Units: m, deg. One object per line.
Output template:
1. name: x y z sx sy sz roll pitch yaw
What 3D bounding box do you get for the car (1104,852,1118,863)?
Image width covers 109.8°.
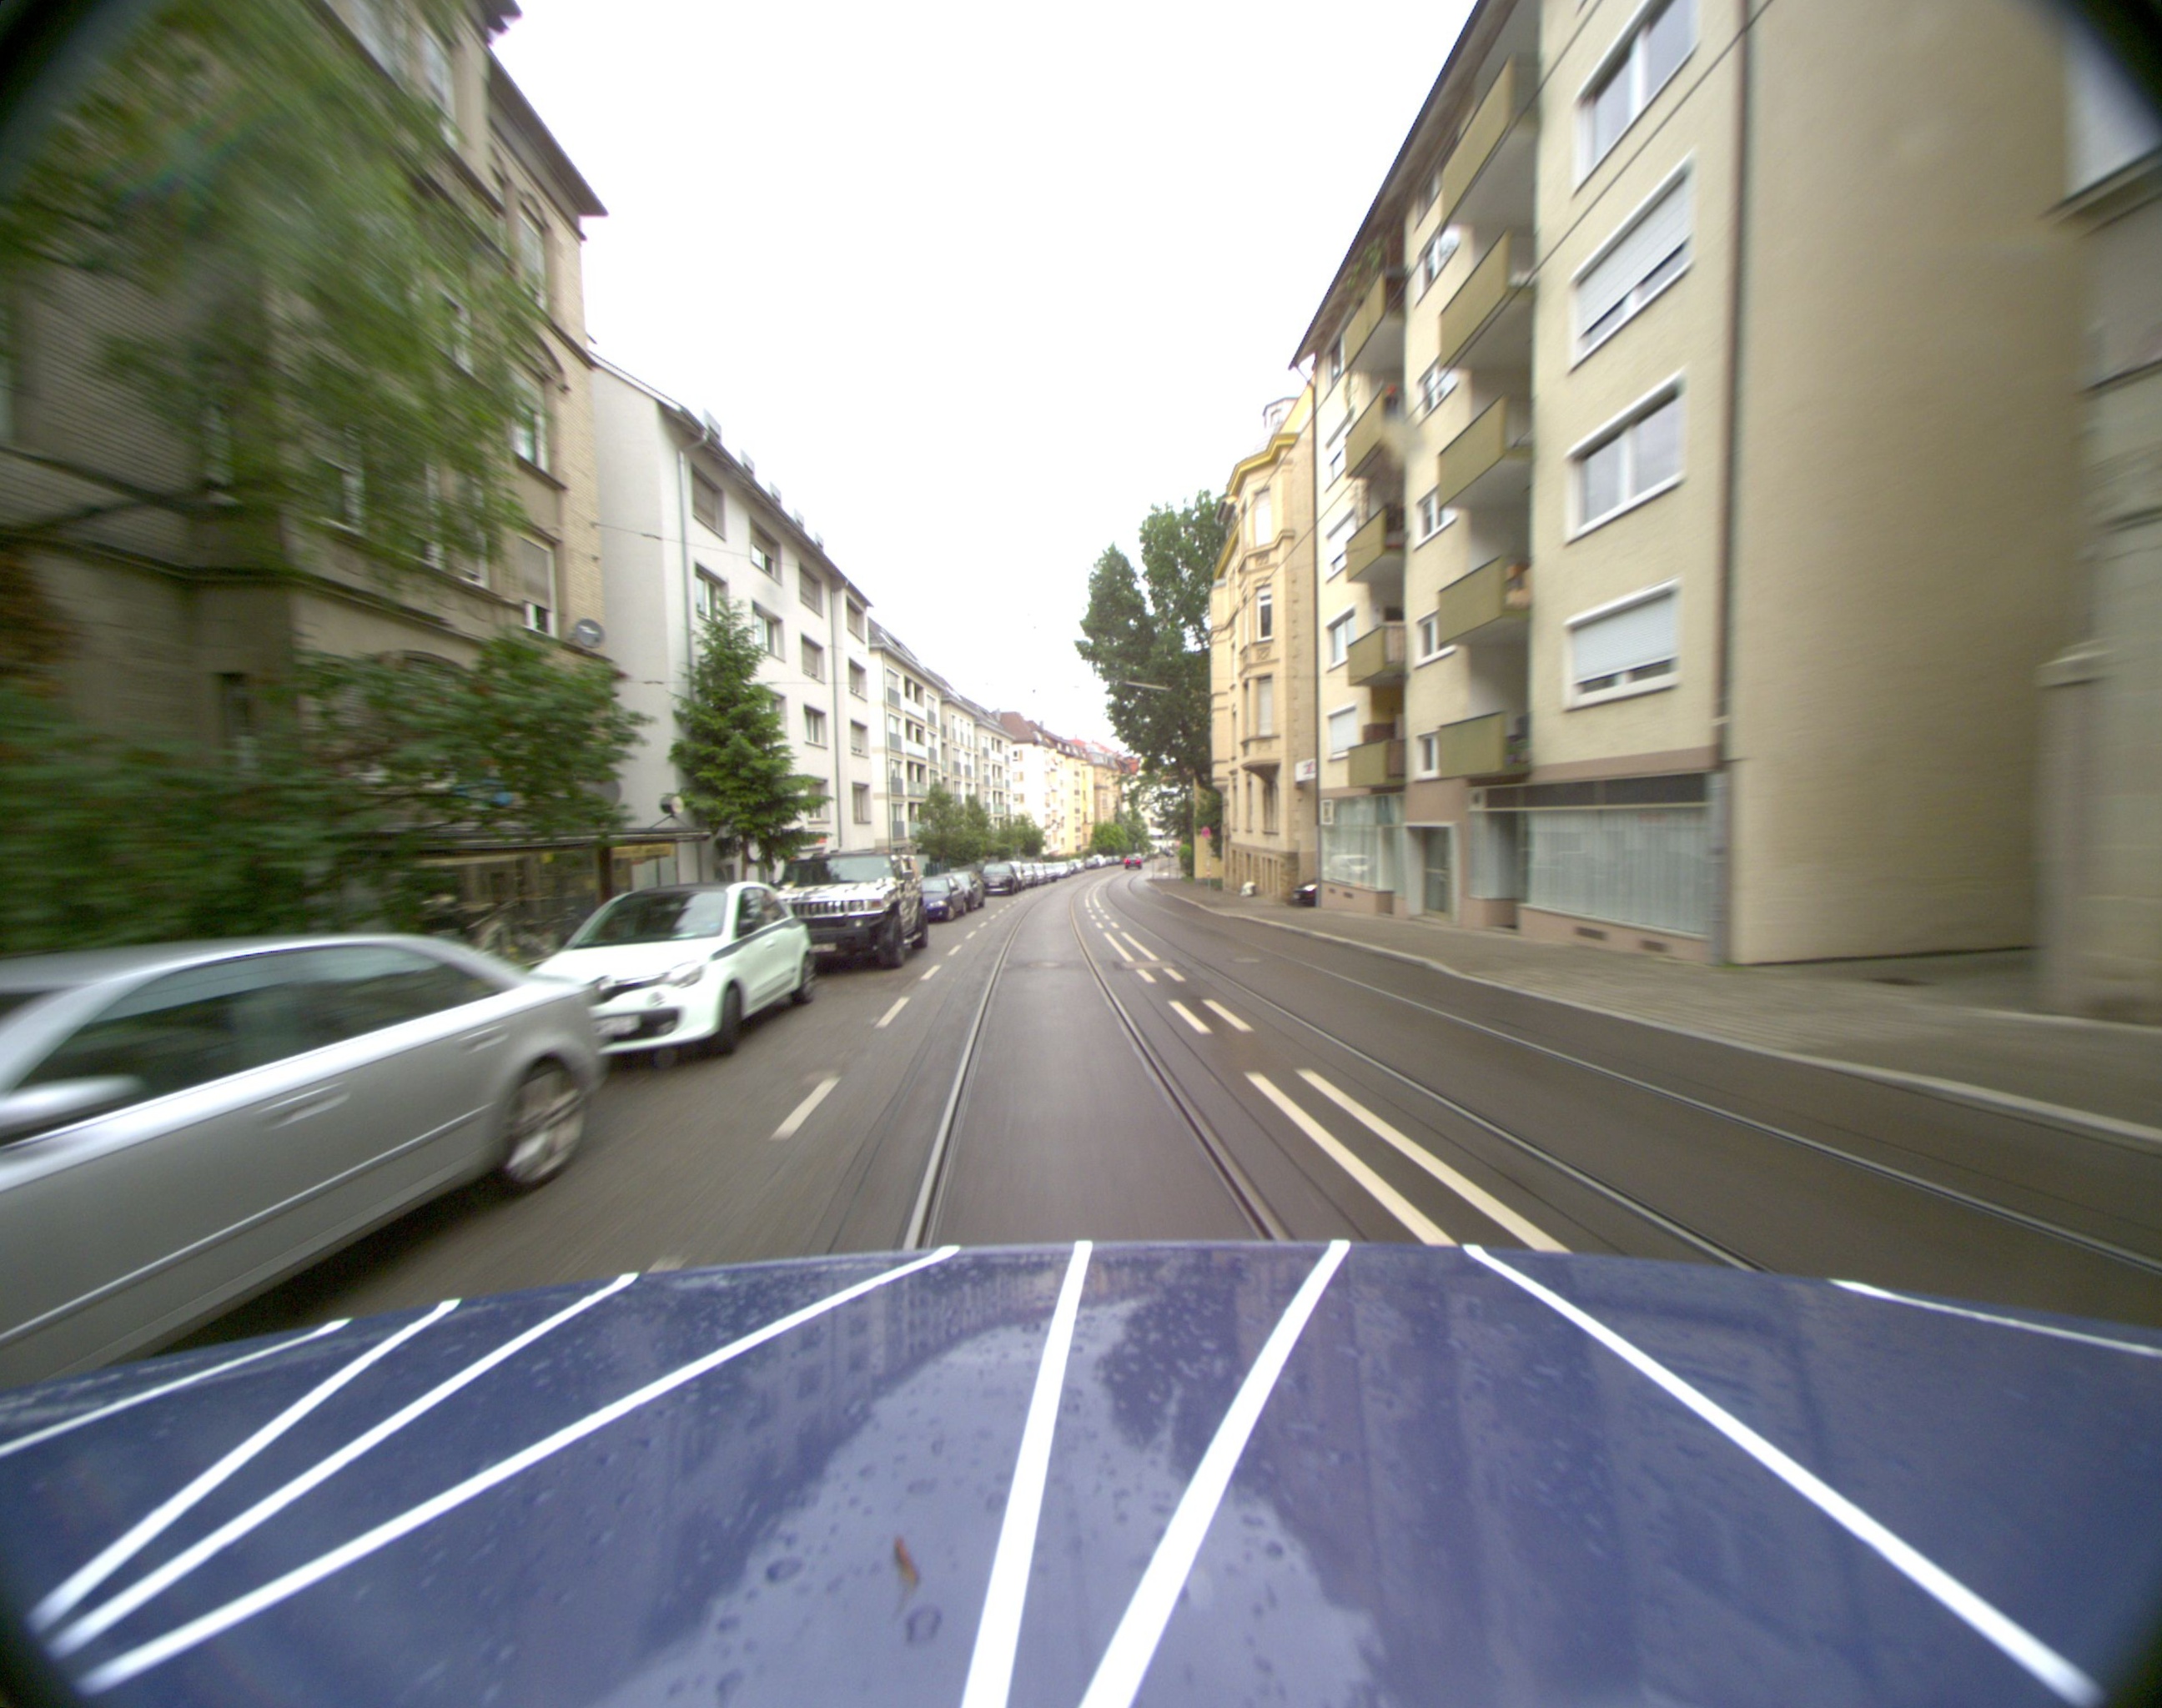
1. car: 4.359 0.511 111.124 1.589 1.434 3.478 -3 1 10

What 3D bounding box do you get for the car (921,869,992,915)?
1. car: -4.544 1.344 28.478 1.799 1.428 4.611 -3 0 1

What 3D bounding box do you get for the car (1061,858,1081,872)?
1. car: -1.044 1.159 81.475 1.599 1.416 3.516 -2 0 7

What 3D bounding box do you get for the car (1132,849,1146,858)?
1. car: 9.957 -0.037 131.260 1.612 1.434 3.692 -3 1 16

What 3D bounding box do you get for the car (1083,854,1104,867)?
1. car: 1.634 0.812 97.170 1.797 1.444 4.106 -3 1 12

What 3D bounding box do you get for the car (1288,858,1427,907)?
1. car: 9.168 0.921 25.439 3.997 1.445 1.740 -2 0 0

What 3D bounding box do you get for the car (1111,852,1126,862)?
1. car: 5.765 0.406 116.655 1.657 1.360 3.638 -3 1 11

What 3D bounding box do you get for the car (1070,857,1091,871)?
1. car: -0.039 1.088 86.246 1.721 1.458 4.393 -2 0 9

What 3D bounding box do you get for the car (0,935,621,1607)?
1. car: -3.641 1.241 2.411 1.753 1.392 4.477 -4 0 -3

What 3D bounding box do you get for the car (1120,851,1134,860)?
1. car: 7.492 0.234 123.525 1.555 1.360 3.127 -3 1 16

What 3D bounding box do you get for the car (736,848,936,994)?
1. car: -4.106 0.989 13.838 2.135 2.002 5.348 -4 0 -4

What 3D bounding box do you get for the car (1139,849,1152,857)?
1. car: 11.572 -0.188 136.791 1.612 1.434 3.692 -3 1 16

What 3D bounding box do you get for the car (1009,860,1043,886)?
1. car: -3.823 1.279 53.472 1.836 1.646 4.687 -2 0 3

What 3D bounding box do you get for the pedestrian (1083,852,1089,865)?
1. pedestrian: 0.673 0.617 100.353 0.716 1.703 0.665 1 2 13

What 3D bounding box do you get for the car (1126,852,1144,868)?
1. car: 6.659 0.712 93.529 2.068 1.668 4.772 0 2 5

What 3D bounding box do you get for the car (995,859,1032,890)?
1. car: -4.183 1.258 47.548 1.783 1.784 4.471 -2 0 1

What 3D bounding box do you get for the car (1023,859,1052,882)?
1. car: -3.365 1.226 59.123 1.836 1.618 4.664 -2 0 1

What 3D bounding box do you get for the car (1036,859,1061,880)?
1. car: -2.757 1.269 64.773 1.980 1.575 4.565 -2 0 -1

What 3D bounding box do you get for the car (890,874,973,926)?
1. car: -4.543 1.367 23.650 1.682 1.330 3.883 -3 0 1

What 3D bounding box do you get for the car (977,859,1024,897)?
1. car: -4.347 1.265 41.769 1.947 1.785 4.820 -3 0 0

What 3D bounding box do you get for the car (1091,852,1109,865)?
1. car: 2.583 0.623 102.328 1.797 1.612 3.869 -3 1 9

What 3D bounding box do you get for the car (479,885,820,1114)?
1. car: -3.950 1.195 7.692 1.565 1.537 3.583 -4 0 -5

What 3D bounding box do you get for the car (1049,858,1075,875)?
1. car: -1.816 1.172 74.301 1.862 1.506 4.791 -2 0 5
